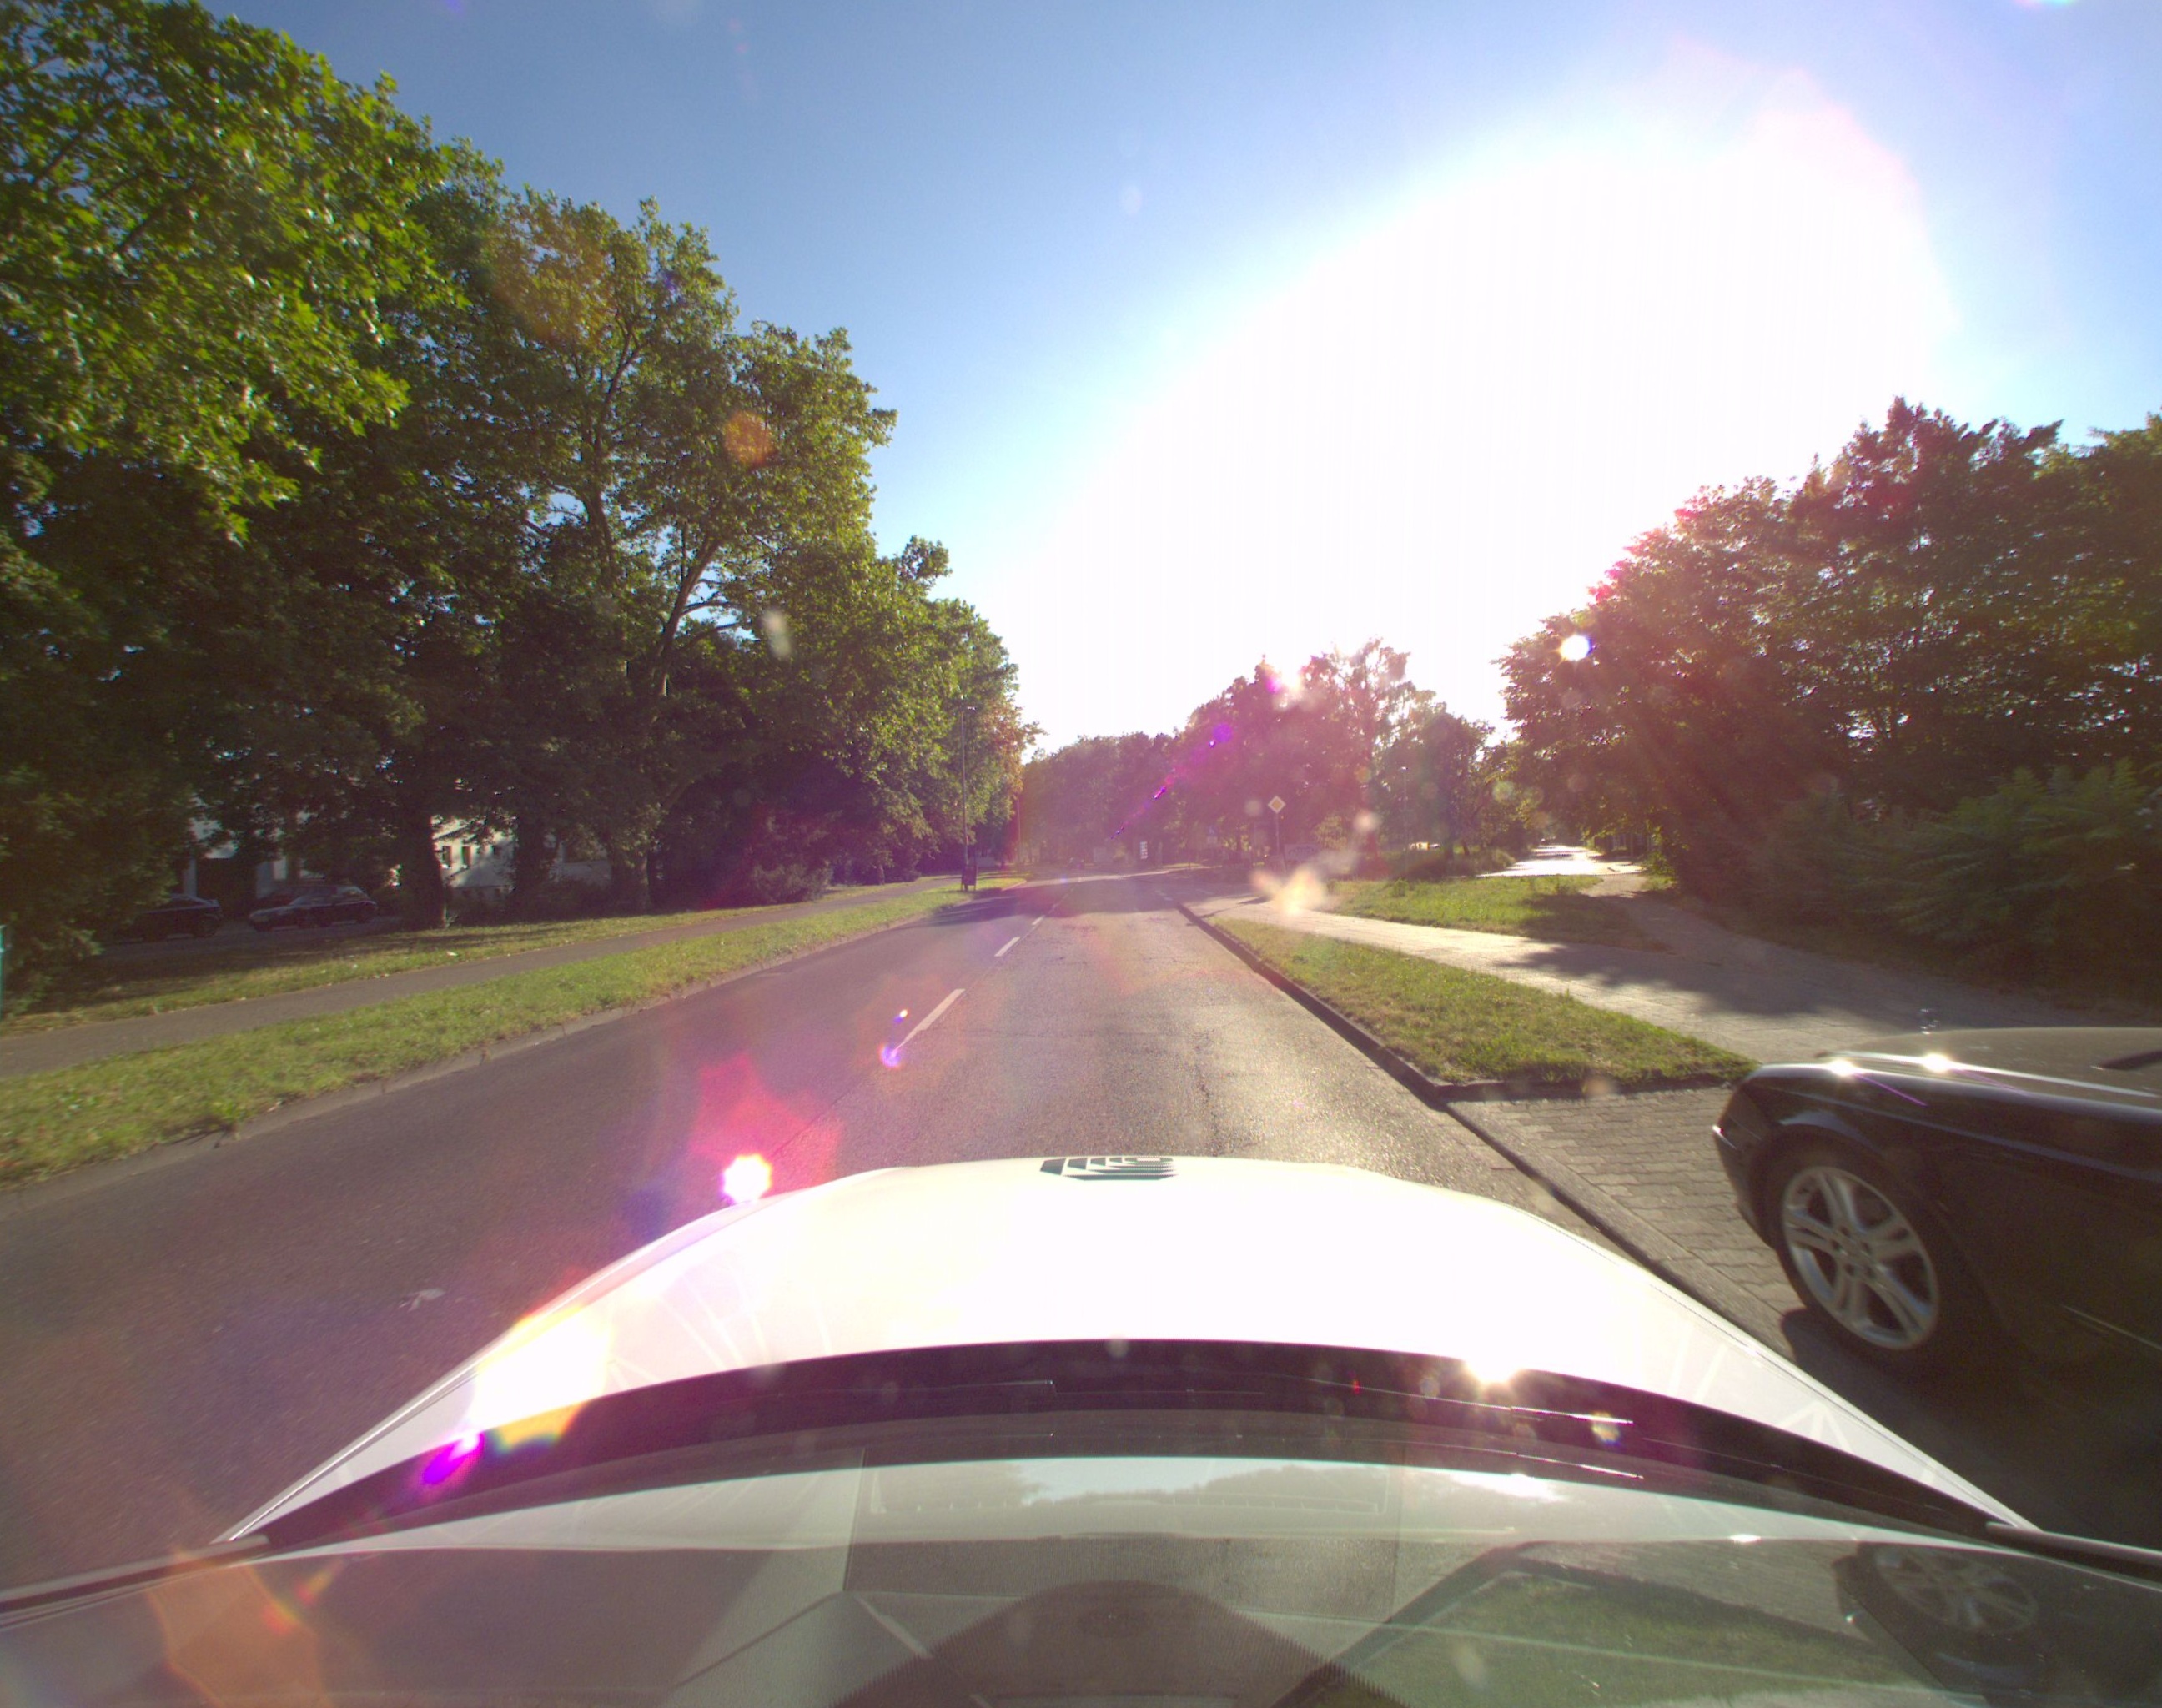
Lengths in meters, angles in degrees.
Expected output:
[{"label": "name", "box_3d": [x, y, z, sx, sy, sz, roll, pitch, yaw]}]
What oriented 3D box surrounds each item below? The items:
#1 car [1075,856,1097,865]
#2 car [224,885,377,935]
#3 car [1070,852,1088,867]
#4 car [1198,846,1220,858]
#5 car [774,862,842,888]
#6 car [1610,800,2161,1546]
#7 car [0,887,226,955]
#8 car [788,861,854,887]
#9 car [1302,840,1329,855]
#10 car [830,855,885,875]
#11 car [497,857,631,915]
[{"label": "car", "box_3d": [1.039, 1.266, 157.038, 3.986, 1.443, 1.755, -3, 0, -9]}, {"label": "car", "box_3d": [-27.846, 1.941, 29.237, 1.772, 1.441, 3.764, -3, 0, 1]}, {"label": "car", "box_3d": [-0.188, 0.657, 95.225, 1.832, 1.605, 3.865, -3, 0, 2]}, {"label": "car", "box_3d": [15.780, -0.273, 100.677, 1.837, 1.420, 3.996, -2, 0, -2]}, {"label": "car", "box_3d": [-17.509, 1.355, 52.416, 3.718, 1.500, 1.812, -2, 0, -3]}, {"label": "car", "box_3d": [3.038, 0.611, 1.001, 1.775, 1.515, 4.691, -3, 0, 2]}, {"label": "car", "box_3d": [-27.896, 1.863, 23.595, 1.819, 1.554, 4.070, -4, 0, 1]}, {"label": "car", "box_3d": [-18.392, 1.413, 57.818, 4.120, 1.596, 1.948, -3, 0, -7]}, {"label": "car", "box_3d": [29.393, -0.820, 102.311, 1.809, 1.728, 4.391, -3, 0, -5]}, {"label": "car", "box_3d": [-17.853, 0.850, 65.198, 3.981, 1.508, 1.909, -1, 0, -6]}, {"label": "car", "box_3d": [-20.357, 1.236, 32.226, 3.983, 2.044, 1.904, -1, 2, -7]}]
